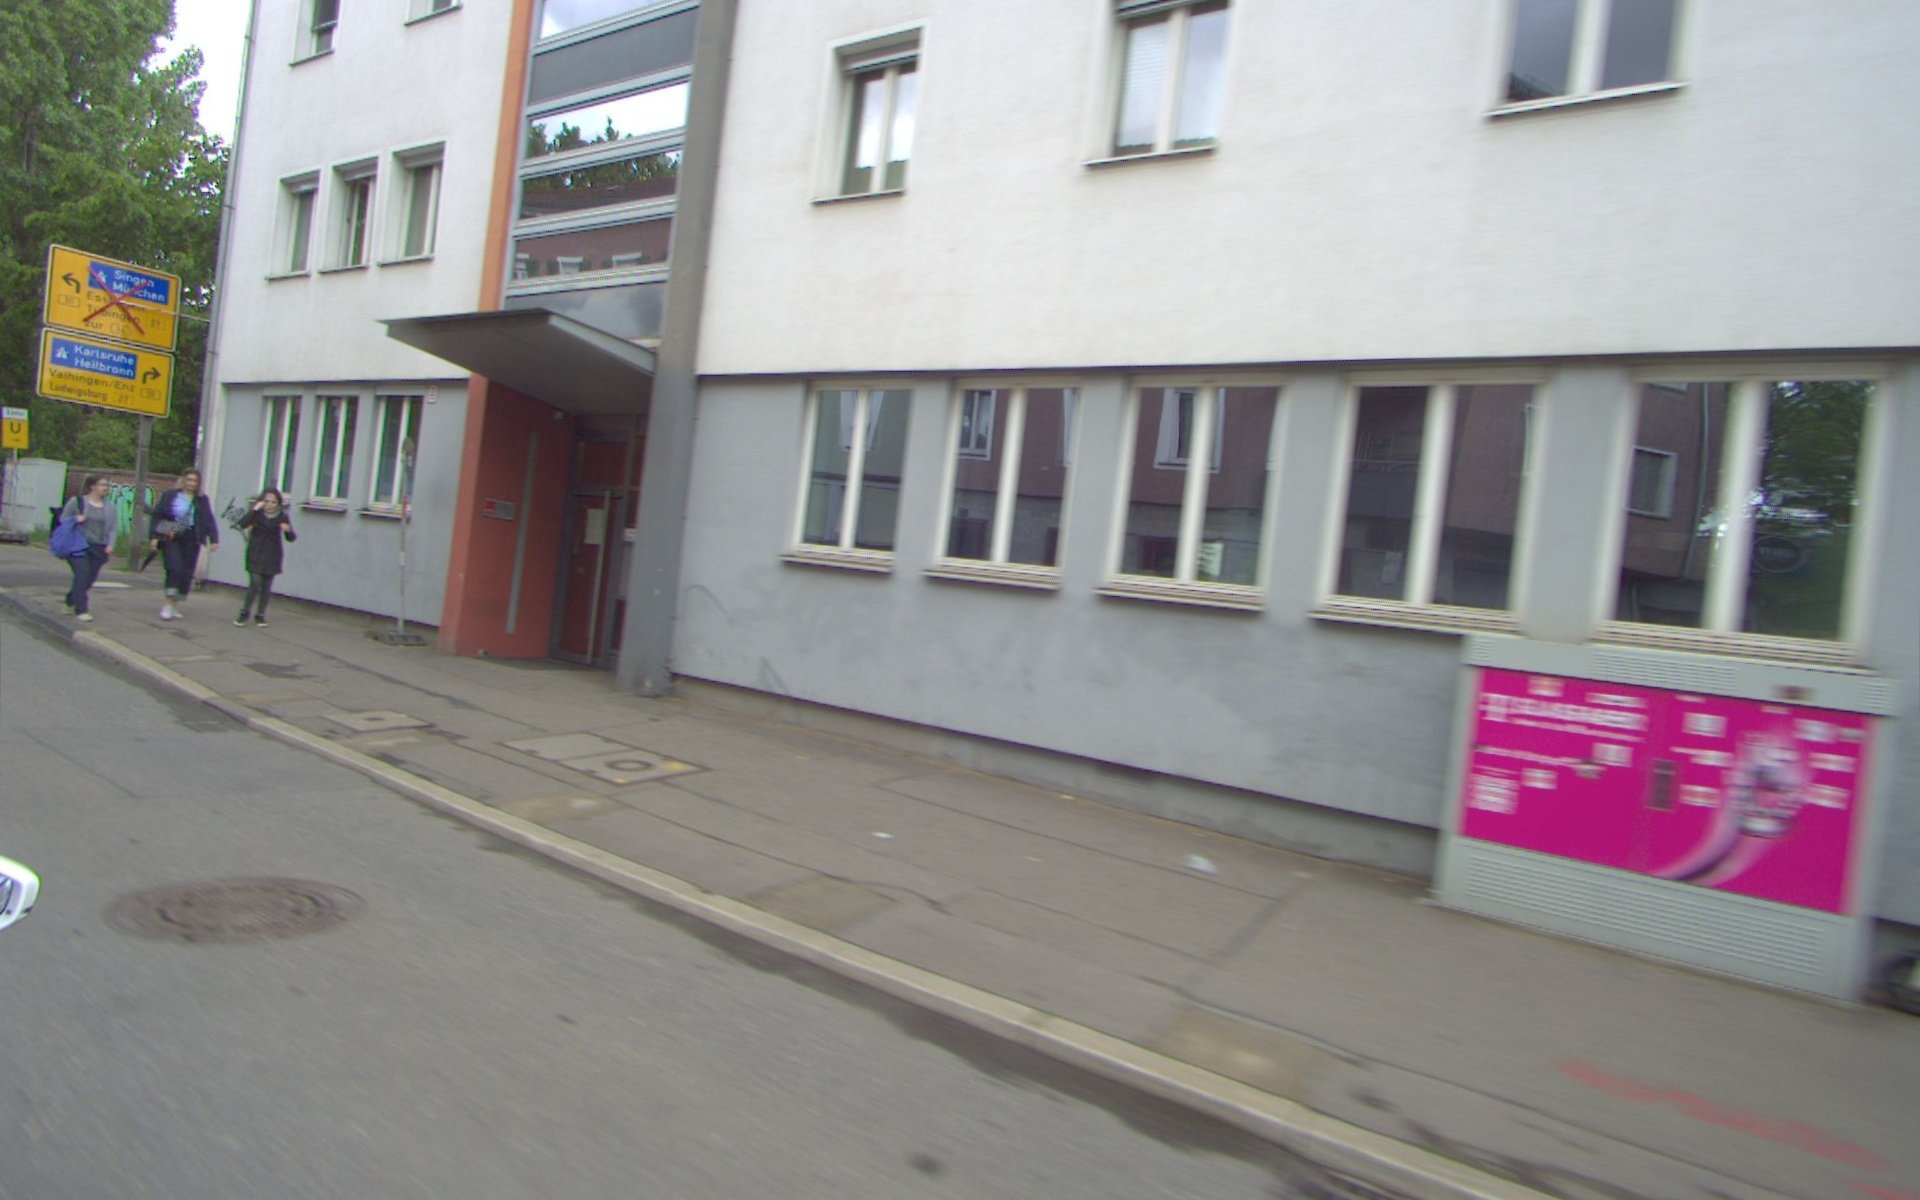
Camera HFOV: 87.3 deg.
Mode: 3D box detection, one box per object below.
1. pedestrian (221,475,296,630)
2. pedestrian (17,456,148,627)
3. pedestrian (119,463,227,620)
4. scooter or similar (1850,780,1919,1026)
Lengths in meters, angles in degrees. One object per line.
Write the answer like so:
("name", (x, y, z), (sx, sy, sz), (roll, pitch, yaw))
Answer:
("pedestrian", (-8.495, -0.577, 12.175), (0.540, 1.780, 0.600), (4, 4, -45))
("pedestrian", (-10.068, -0.661, 11.546), (0.927, 1.818, 0.803), (9, 3, 32))
("pedestrian", (-9.641, -0.709, 12.330), (0.863, 1.780, 0.687), (9, 3, 32))
("scooter or similar", (5.195, 1.549, 4.672), (1.415, 1.111, 0.428), (8, 2, 31))
